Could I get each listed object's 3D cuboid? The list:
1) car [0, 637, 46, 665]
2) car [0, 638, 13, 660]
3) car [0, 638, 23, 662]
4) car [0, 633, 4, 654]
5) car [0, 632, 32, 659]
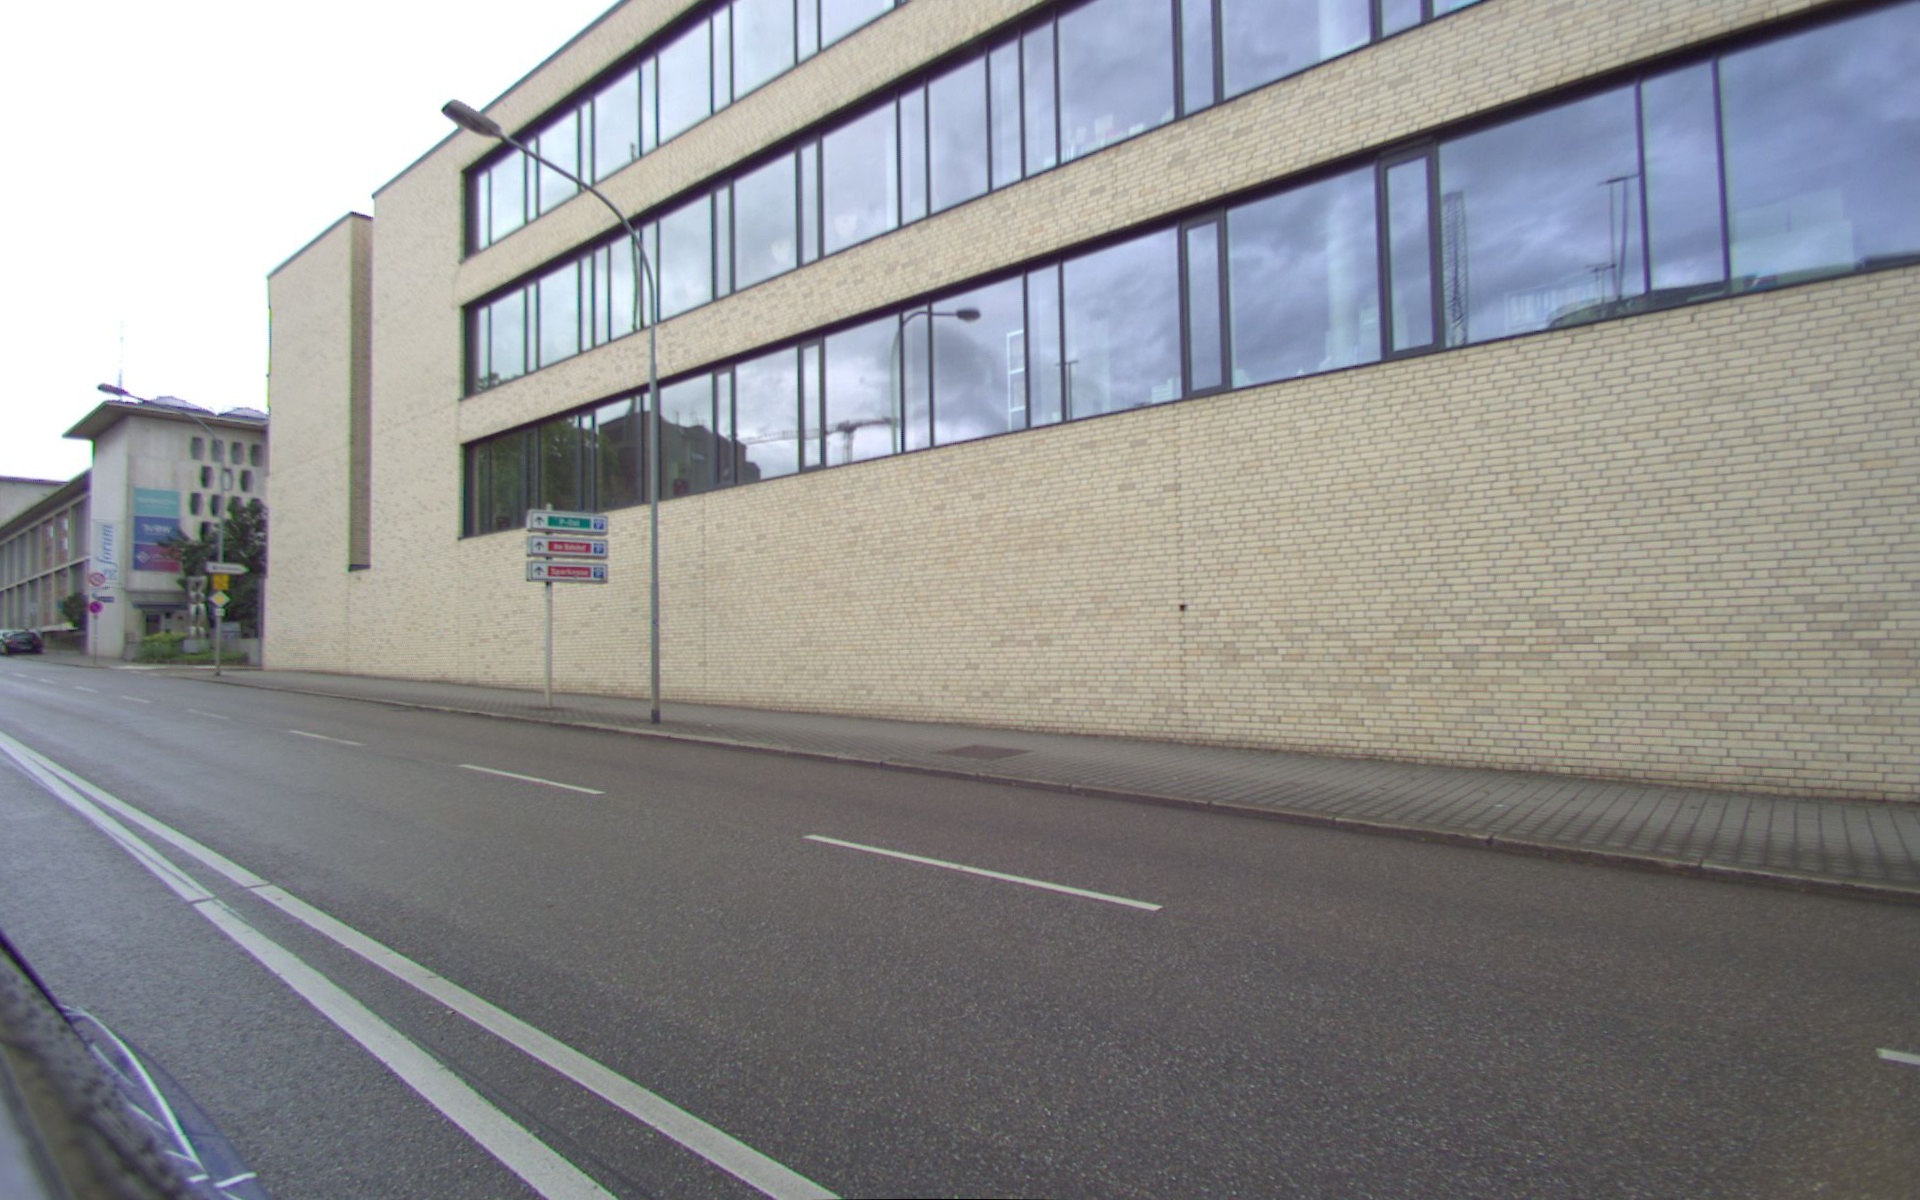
[{"bbox_3d":[-58.684,3.178,63.125,3.997,1.541,1.973,-1,0,40],"label":"car"},{"bbox_3d":[-70.580,3.572,73.674,4.184,1.502,1.973,-1,0,41],"label":"car"},{"bbox_3d":[-66.695,3.438,70.287,3.999,1.523,1.972,-1,0,42],"label":"car"},{"bbox_3d":[-75.153,3.402,77.756,3.997,1.541,1.974,-1,3,40],"label":"car"},{"bbox_3d":[-62.912,2.971,66.800,3.998,1.654,1.973,-1,0,41],"label":"car"}]
